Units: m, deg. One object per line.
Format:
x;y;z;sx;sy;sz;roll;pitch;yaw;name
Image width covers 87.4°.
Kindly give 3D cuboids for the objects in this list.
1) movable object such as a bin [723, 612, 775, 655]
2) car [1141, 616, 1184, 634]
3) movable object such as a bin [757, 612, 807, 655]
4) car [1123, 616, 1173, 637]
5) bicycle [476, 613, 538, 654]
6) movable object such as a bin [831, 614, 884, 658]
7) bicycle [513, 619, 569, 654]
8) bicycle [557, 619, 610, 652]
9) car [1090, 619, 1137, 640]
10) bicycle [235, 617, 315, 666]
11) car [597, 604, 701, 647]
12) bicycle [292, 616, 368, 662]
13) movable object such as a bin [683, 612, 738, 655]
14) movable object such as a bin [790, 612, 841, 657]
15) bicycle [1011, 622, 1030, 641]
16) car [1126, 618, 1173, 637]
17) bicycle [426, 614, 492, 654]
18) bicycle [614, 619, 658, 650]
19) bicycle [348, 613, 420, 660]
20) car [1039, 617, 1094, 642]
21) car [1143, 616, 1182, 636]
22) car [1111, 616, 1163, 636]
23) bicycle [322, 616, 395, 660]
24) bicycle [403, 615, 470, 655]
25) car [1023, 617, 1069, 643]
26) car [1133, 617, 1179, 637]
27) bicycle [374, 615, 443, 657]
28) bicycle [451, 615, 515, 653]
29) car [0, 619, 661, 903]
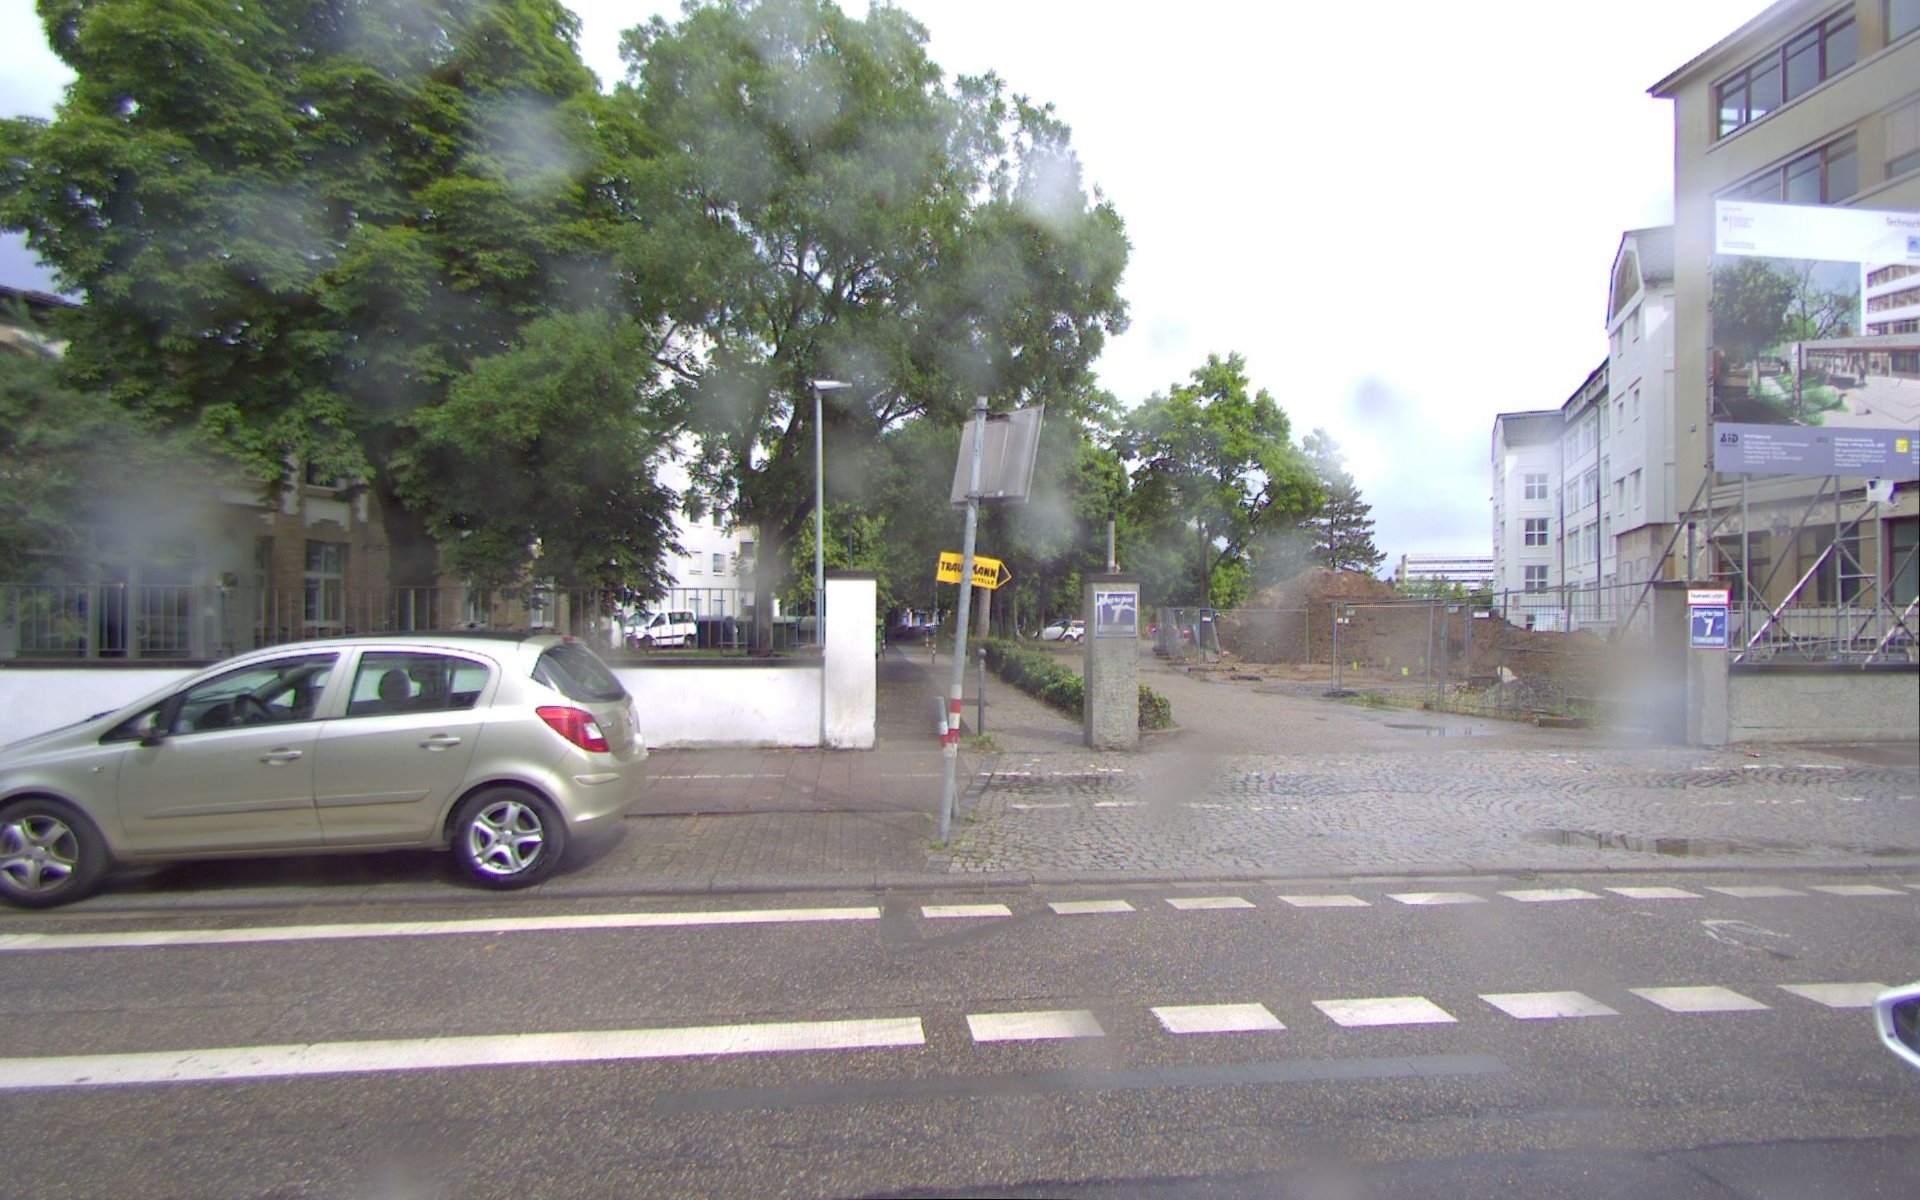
-7.621;1.201;36.377;1.467;1.503;1.168;-1;0;16;movable object such as a bin
19.543;2.415;96.915;3.792;1.594;1.958;1;1;17;car
-6.316;1.180;35.711;1.374;1.503;1.168;1;-1;17;movable object such as a bin
16.242;2.284;86.850;4.038;1.672;1.847;1;1;16;car
-14.176;1.052;31.431;1.889;1.241;0.617;-1;0;21;bicycle
-3.553;1.244;34.796;1.459;1.492;1.102;-1;-2;31;movable object such as a bin
-13.691;1.188;32.825;1.753;1.131;0.617;-1;0;21;bicycle
-13.013;1.220;34.702;1.753;1.131;0.617;-1;0;21;bicycle
11.843;2.234;77.429;3.231;1.444;1.591;2;1;24;car
-16.558;0.993;24.265;1.889;1.131;0.617;-1;0;21;bicycle
-14.650;1.248;47.565;2.059;1.951;4.888;-1;-2;23;car
-16.067;0.991;25.620;1.889;1.131;0.617;-1;0;21;bicycle
-9.110;1.219;36.754;1.562;1.503;1.168;-1;0;16;movable object such as a bin
-5.033;1.211;35.135;1.374;1.503;1.169;2;-1;14;movable object such as a bin
2.976;1.548;49.300;0.467;0.872;1.455;2;0;21;bicycle
16.885;2.468;89.418;3.876;1.537;1.806;1;1;17;car
-14.774;1.003;29.638;1.889;1.131;0.617;-1;0;21;bicycle
-12.015;1.270;37.287;1.490;1.131;0.617;-1;0;21;bicycle
-15.618;0.979;27.245;1.889;1.192;0.617;1;0;21;bicycle
6.700;1.849;63.203;3.373;1.488;1.741;0;0;9;car
19.094;2.435;94.635;3.526;1.642;1.870;1;1;14;car
14.748;2.140;83.546;3.922;1.516;1.993;2;1;21;car
-15.927;1.007;26.612;1.889;1.131;0.617;-1;0;21;bicycle
-15.103;1.004;28.984;1.889;1.131;0.617;-1;0;21;bicycle
5.266;1.827;61.176;2.706;1.504;1.594;0;0;9;car
17.973;2.461;91.922;3.920;1.581;1.764;1;1;18;car
-15.392;0.992;28.018;1.889;1.131;0.617;-1;0;21;bicycle
-14.505;1.038;30.563;1.889;1.131;0.617;-1;0;21;bicycle
-4.002;0.892;6.415;3.761;1.479;1.688;0;1;-7;car
